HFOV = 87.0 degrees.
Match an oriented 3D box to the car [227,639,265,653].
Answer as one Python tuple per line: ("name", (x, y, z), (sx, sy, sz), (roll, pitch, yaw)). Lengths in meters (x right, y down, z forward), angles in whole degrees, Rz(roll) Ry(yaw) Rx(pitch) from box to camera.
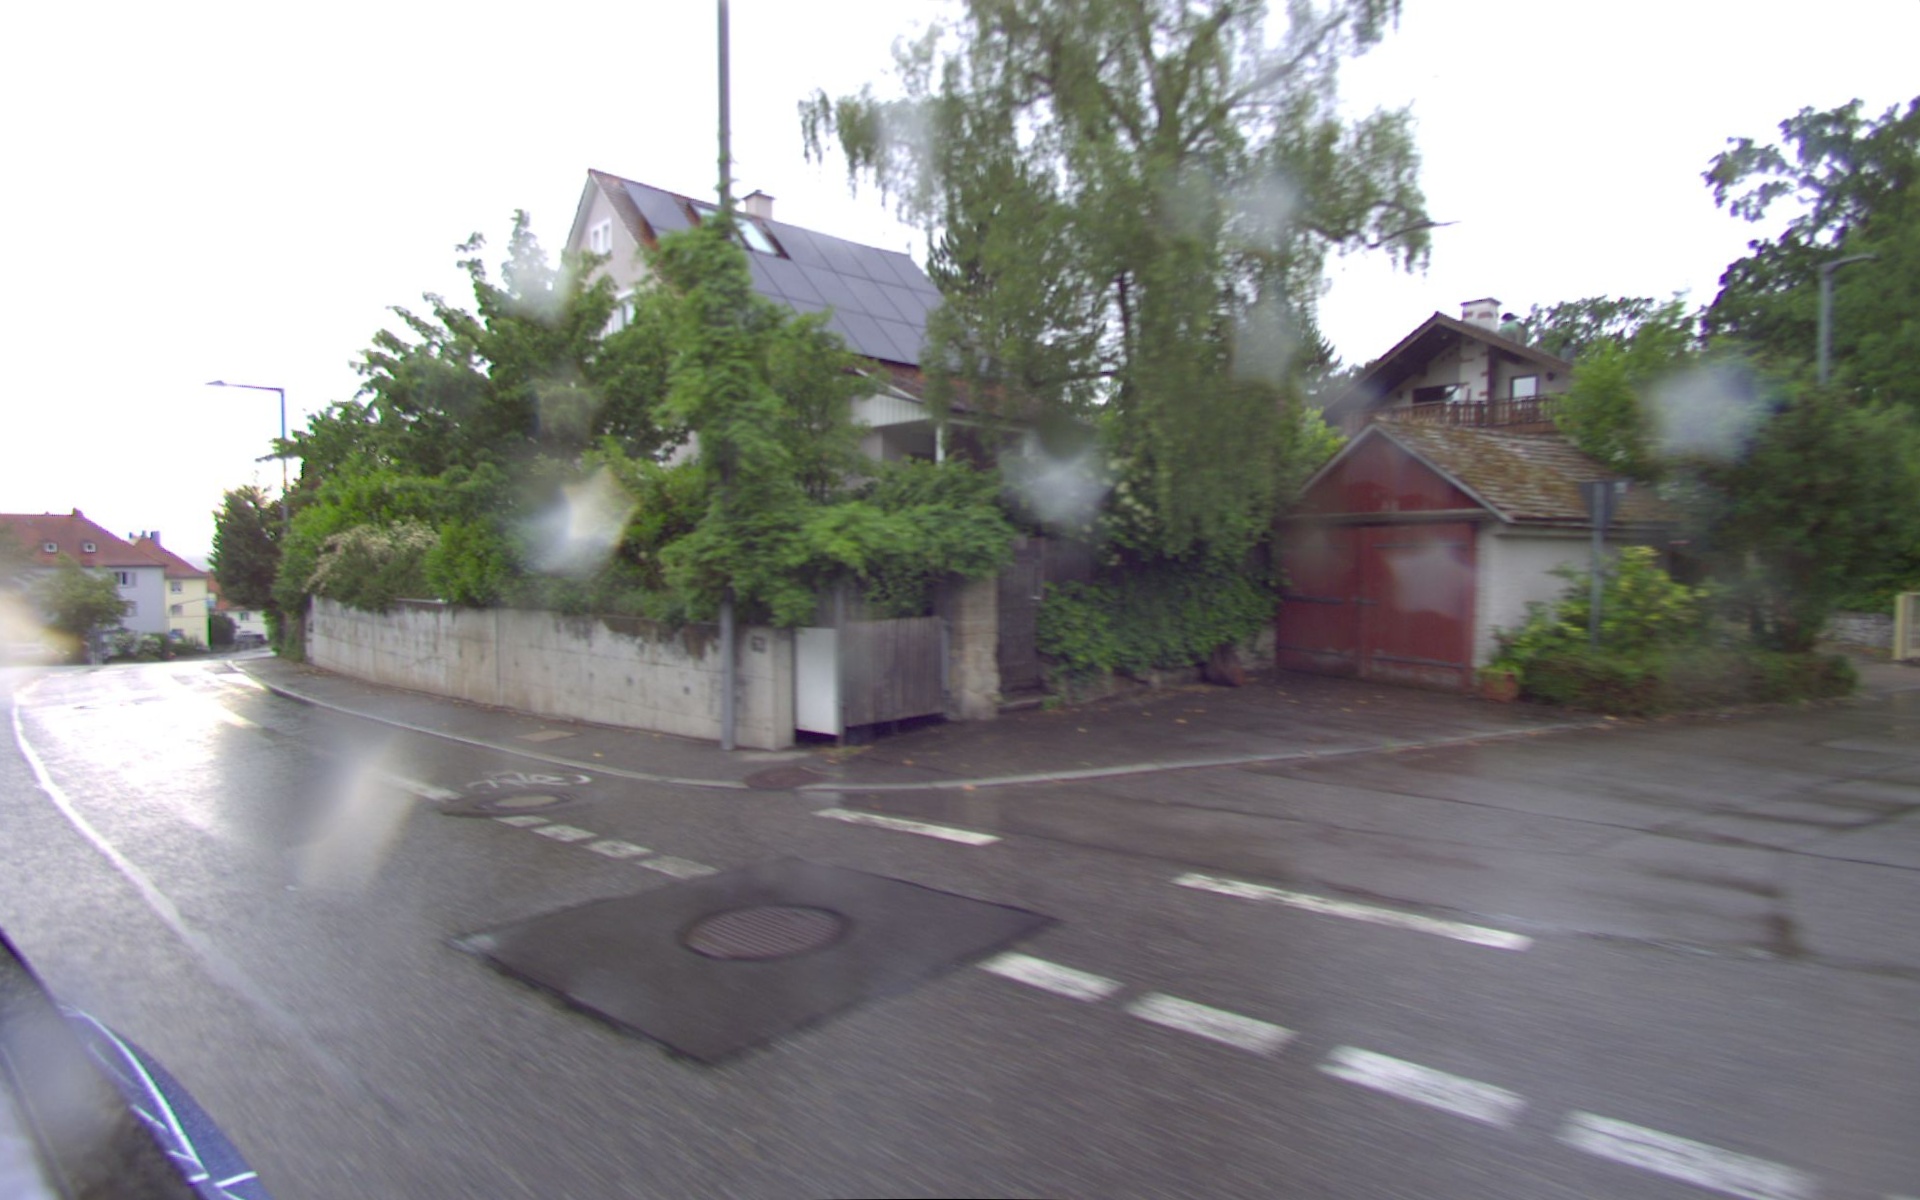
("car", (-95.960, 6.206, 135.996), (1.770, 1.795, 3.881), (1, -1, 41))

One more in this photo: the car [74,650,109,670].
("car", (-75.870, 5.204, 88.363), (3.792, 1.575, 1.701), (1, -1, 40))

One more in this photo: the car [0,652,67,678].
("car", (-57.200, 3.975, 61.872), (3.693, 1.470, 1.729), (0, -4, -35))

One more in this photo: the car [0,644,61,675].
("car", (-54.195, 3.398, 57.581), (4.468, 1.673, 1.859), (0, -4, -40))

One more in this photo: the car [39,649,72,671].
("car", (-77.102, 5.109, 86.210), (4.259, 1.605, 1.770), (1, -2, 45))
